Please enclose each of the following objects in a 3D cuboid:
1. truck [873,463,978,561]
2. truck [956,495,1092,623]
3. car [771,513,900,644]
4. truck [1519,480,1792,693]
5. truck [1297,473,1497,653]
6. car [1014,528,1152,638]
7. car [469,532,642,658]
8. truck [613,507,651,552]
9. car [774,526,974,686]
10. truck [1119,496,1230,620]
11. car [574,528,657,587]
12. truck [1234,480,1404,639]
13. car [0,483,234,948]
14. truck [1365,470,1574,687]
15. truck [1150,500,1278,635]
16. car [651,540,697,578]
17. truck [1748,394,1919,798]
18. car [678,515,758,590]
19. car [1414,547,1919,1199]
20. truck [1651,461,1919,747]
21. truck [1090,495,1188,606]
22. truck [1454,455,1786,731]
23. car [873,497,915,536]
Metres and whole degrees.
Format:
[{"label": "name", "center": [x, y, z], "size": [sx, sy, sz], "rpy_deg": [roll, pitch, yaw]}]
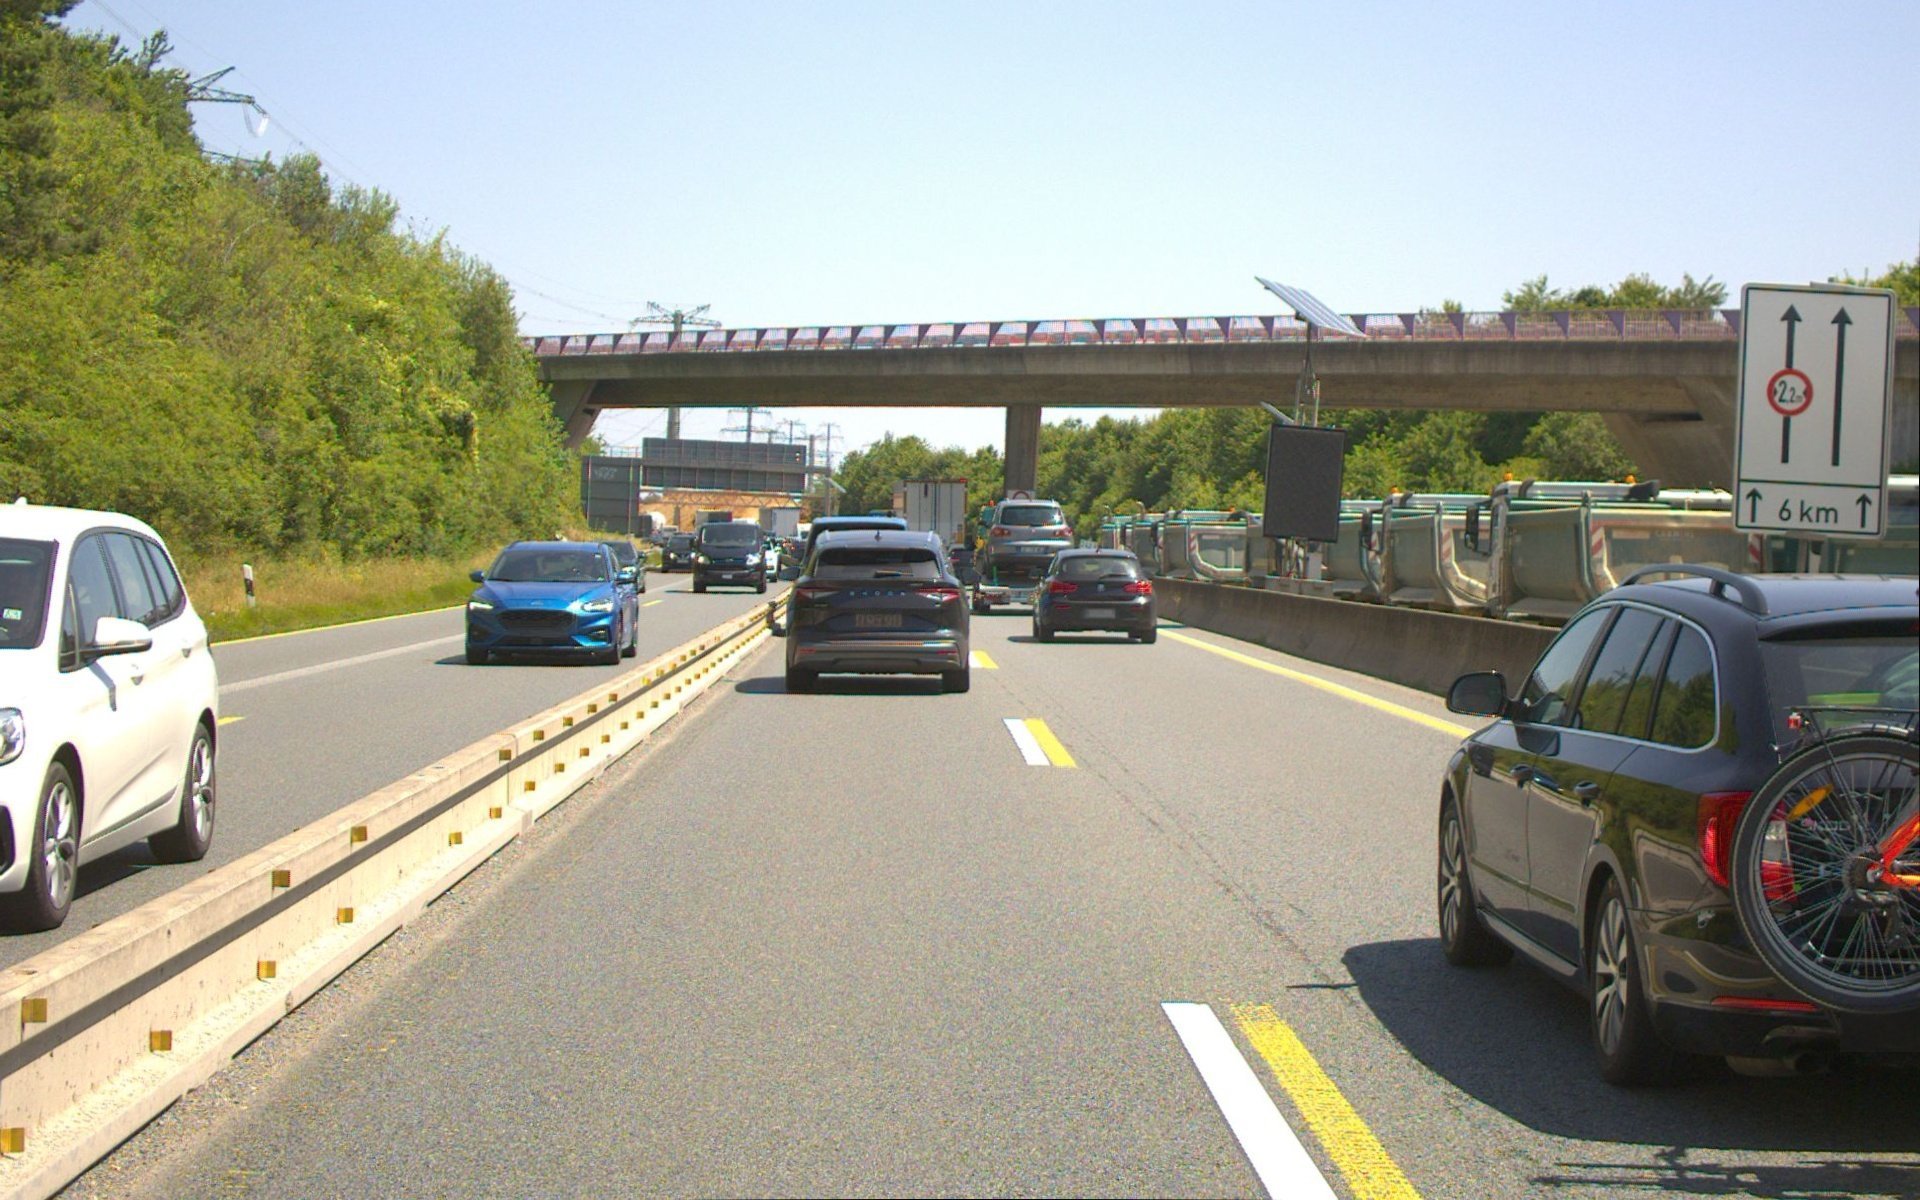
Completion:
[{"label": "truck", "center": [-1.519, -3.640, 142.914], "size": [3.292, 3.832, 10.112], "rpy_deg": [1, 1, -6]}, {"label": "truck", "center": [1.287, -0.929, 73.453], "size": [2.405, 2.549, 7.501], "rpy_deg": [1, 1, -2]}, {"label": "car", "center": [-1.946, -0.367, 54.903], "size": [1.899, 1.962, 4.276], "rpy_deg": [1, 1, 0]}, {"label": "truck", "center": [11.952, -0.307, 60.023], "size": [2.687, 3.366, 9.603], "rpy_deg": [1, 1, 0]}, {"label": "truck", "center": [9.213, -0.831, 73.529], "size": [2.687, 3.545, 9.326], "rpy_deg": [1, 1, -2]}, {"label": "car", "center": [1.850, -0.282, 52.936], "size": [1.899, 1.580, 4.276], "rpy_deg": [1, 1, -1]}, {"label": "car", "center": [-4.867, -0.088, 41.787], "size": [1.712, 1.420, 4.170], "rpy_deg": [1, 1, -2]}, {"label": "truck", "center": [-23.868, -5.136, 249.763], "size": [2.508, 3.175, 10.112], "rpy_deg": [1, 1, -6]}, {"label": "car", "center": [-0.845, 0.028, 35.268], "size": [1.899, 1.500, 4.276], "rpy_deg": [1, 1, 0]}, {"label": "truck", "center": [6.943, -1.412, 112.522], "size": [2.687, 3.842, 9.326], "rpy_deg": [1, 1, -2]}, {"label": "car", "center": [-9.201, -1.154, 92.041], "size": [1.793, 1.520, 4.531], "rpy_deg": [1, 1, -1]}, {"label": "truck", "center": [8.492, -1.008, 82.490], "size": [2.687, 3.545, 9.326], "rpy_deg": [1, 1, -2]}, {"label": "car", "center": [-4.280, 0.359, 14.140], "size": [1.762, 1.626, 4.297], "rpy_deg": [1, 1, -2]}, {"label": "truck", "center": [9.031, -0.446, 61.958], "size": [2.687, 3.545, 9.406], "rpy_deg": [1, 1, 2]}, {"label": "truck", "center": [7.393, -0.996, 101.122], "size": [2.687, 3.748, 9.326], "rpy_deg": [1, 1, -2]}, {"label": "car", "center": [-12.286, -1.774, 147.923], "size": [1.699, 1.560, 3.995], "rpy_deg": [2, 1, -1]}, {"label": "truck", "center": [9.668, -0.036, 31.198], "size": [2.538, 3.545, 9.604], "rpy_deg": [1, 1, -1]}, {"label": "car", "center": [-6.738, -1.347, 96.145], "size": [1.890, 2.007, 4.818], "rpy_deg": [1, 1, -1]}, {"label": "car", "center": [2.647, 0.617, 10.076], "size": [1.899, 1.485, 4.948], "rpy_deg": [1, 1, -1]}, {"label": "truck", "center": [12.046, -0.024, 47.697], "size": [2.687, 3.545, 9.604], "rpy_deg": [1, 1, -1]}, {"label": "truck", "center": [6.445, -1.830, 125.143], "size": [2.687, 3.830, 9.326], "rpy_deg": [1, 1, -2]}, {"label": "truck", "center": [9.305, -0.182, 49.704], "size": [2.687, 3.545, 9.603], "rpy_deg": [1, 1, -1]}, {"label": "car", "center": [-3.447, -4.329, 178.032], "size": [1.899, 1.962, 4.277], "rpy_deg": [1, 1, -4]}]
